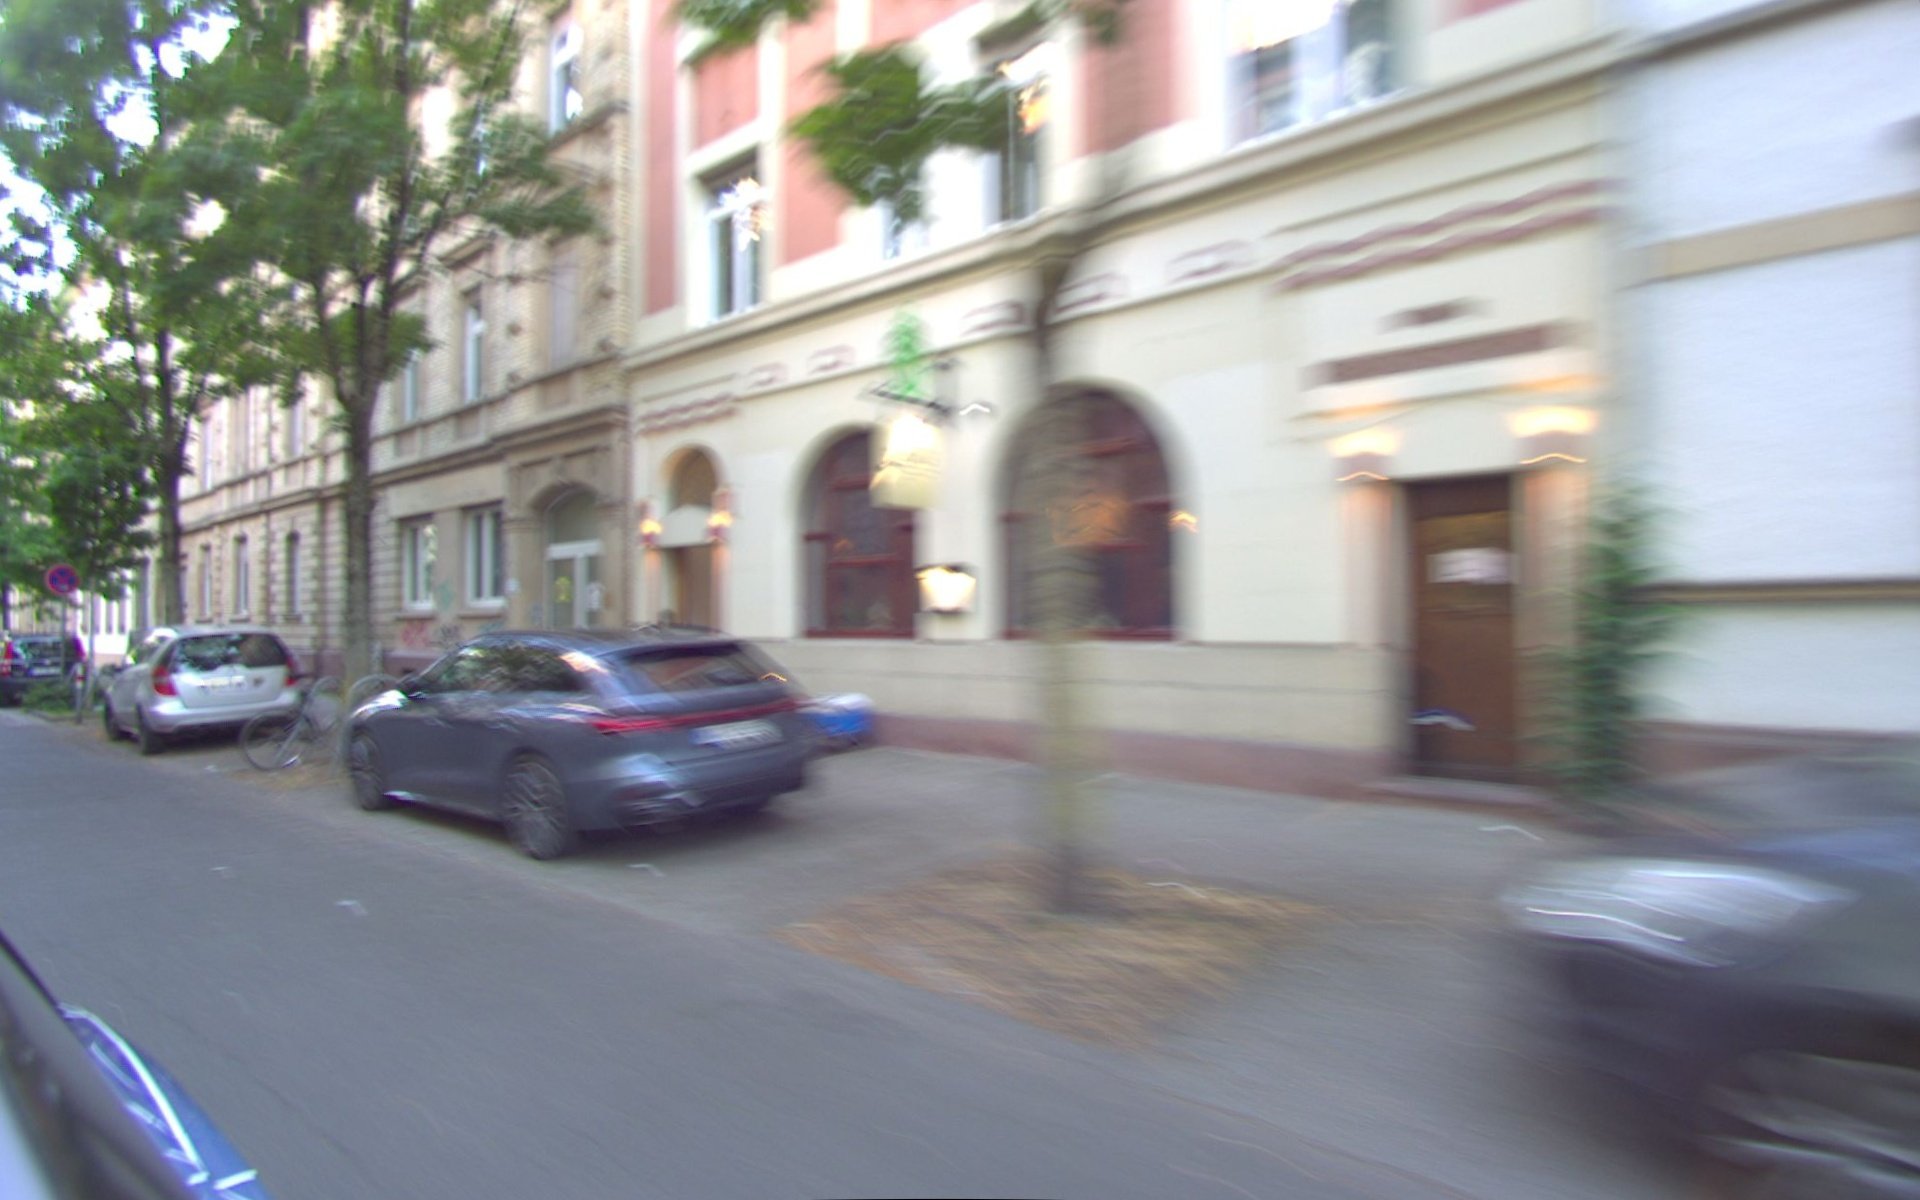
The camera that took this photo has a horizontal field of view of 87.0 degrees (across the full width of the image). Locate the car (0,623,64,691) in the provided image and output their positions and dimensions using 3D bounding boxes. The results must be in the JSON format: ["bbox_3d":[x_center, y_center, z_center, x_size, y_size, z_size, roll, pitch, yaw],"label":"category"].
[{"bbox_3d":[-23.284,1.346,24.599,3.708,1.513,1.674,-1,0,39],"label":"car"}]

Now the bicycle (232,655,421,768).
[{"bbox_3d":[-6.869,1.179,11.052,0.430,1.011,1.666,-1,1,42],"label":"bicycle"}]

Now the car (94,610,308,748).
[{"bbox_3d":[-10.528,0.981,13.940,3.860,1.619,1.658,-2,-1,42],"label":"car"}]

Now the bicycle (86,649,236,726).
[{"bbox_3d":[-12.894,1.381,16.407,0.592,1.068,1.857,-1,0,21],"label":"bicycle"}]

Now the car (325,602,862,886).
[{"bbox_3d":[-3.032,0.827,7.761,4.682,1.529,1.787,-1,0,40],"label":"car"}]

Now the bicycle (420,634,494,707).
[{"bbox_3d":[-8.182,1.131,16.437,1.628,1.098,0.457,-3,1,42],"label":"bicycle"}]

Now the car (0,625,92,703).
[{"bbox_3d":[-20.311,1.329,22.102,3.559,1.513,1.504,-1,0,40],"label":"car"}]

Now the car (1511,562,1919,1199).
[{"bbox_3d":[3.481,0.673,1.831,4.076,1.592,1.689,-2,0,41],"label":"car"}]
